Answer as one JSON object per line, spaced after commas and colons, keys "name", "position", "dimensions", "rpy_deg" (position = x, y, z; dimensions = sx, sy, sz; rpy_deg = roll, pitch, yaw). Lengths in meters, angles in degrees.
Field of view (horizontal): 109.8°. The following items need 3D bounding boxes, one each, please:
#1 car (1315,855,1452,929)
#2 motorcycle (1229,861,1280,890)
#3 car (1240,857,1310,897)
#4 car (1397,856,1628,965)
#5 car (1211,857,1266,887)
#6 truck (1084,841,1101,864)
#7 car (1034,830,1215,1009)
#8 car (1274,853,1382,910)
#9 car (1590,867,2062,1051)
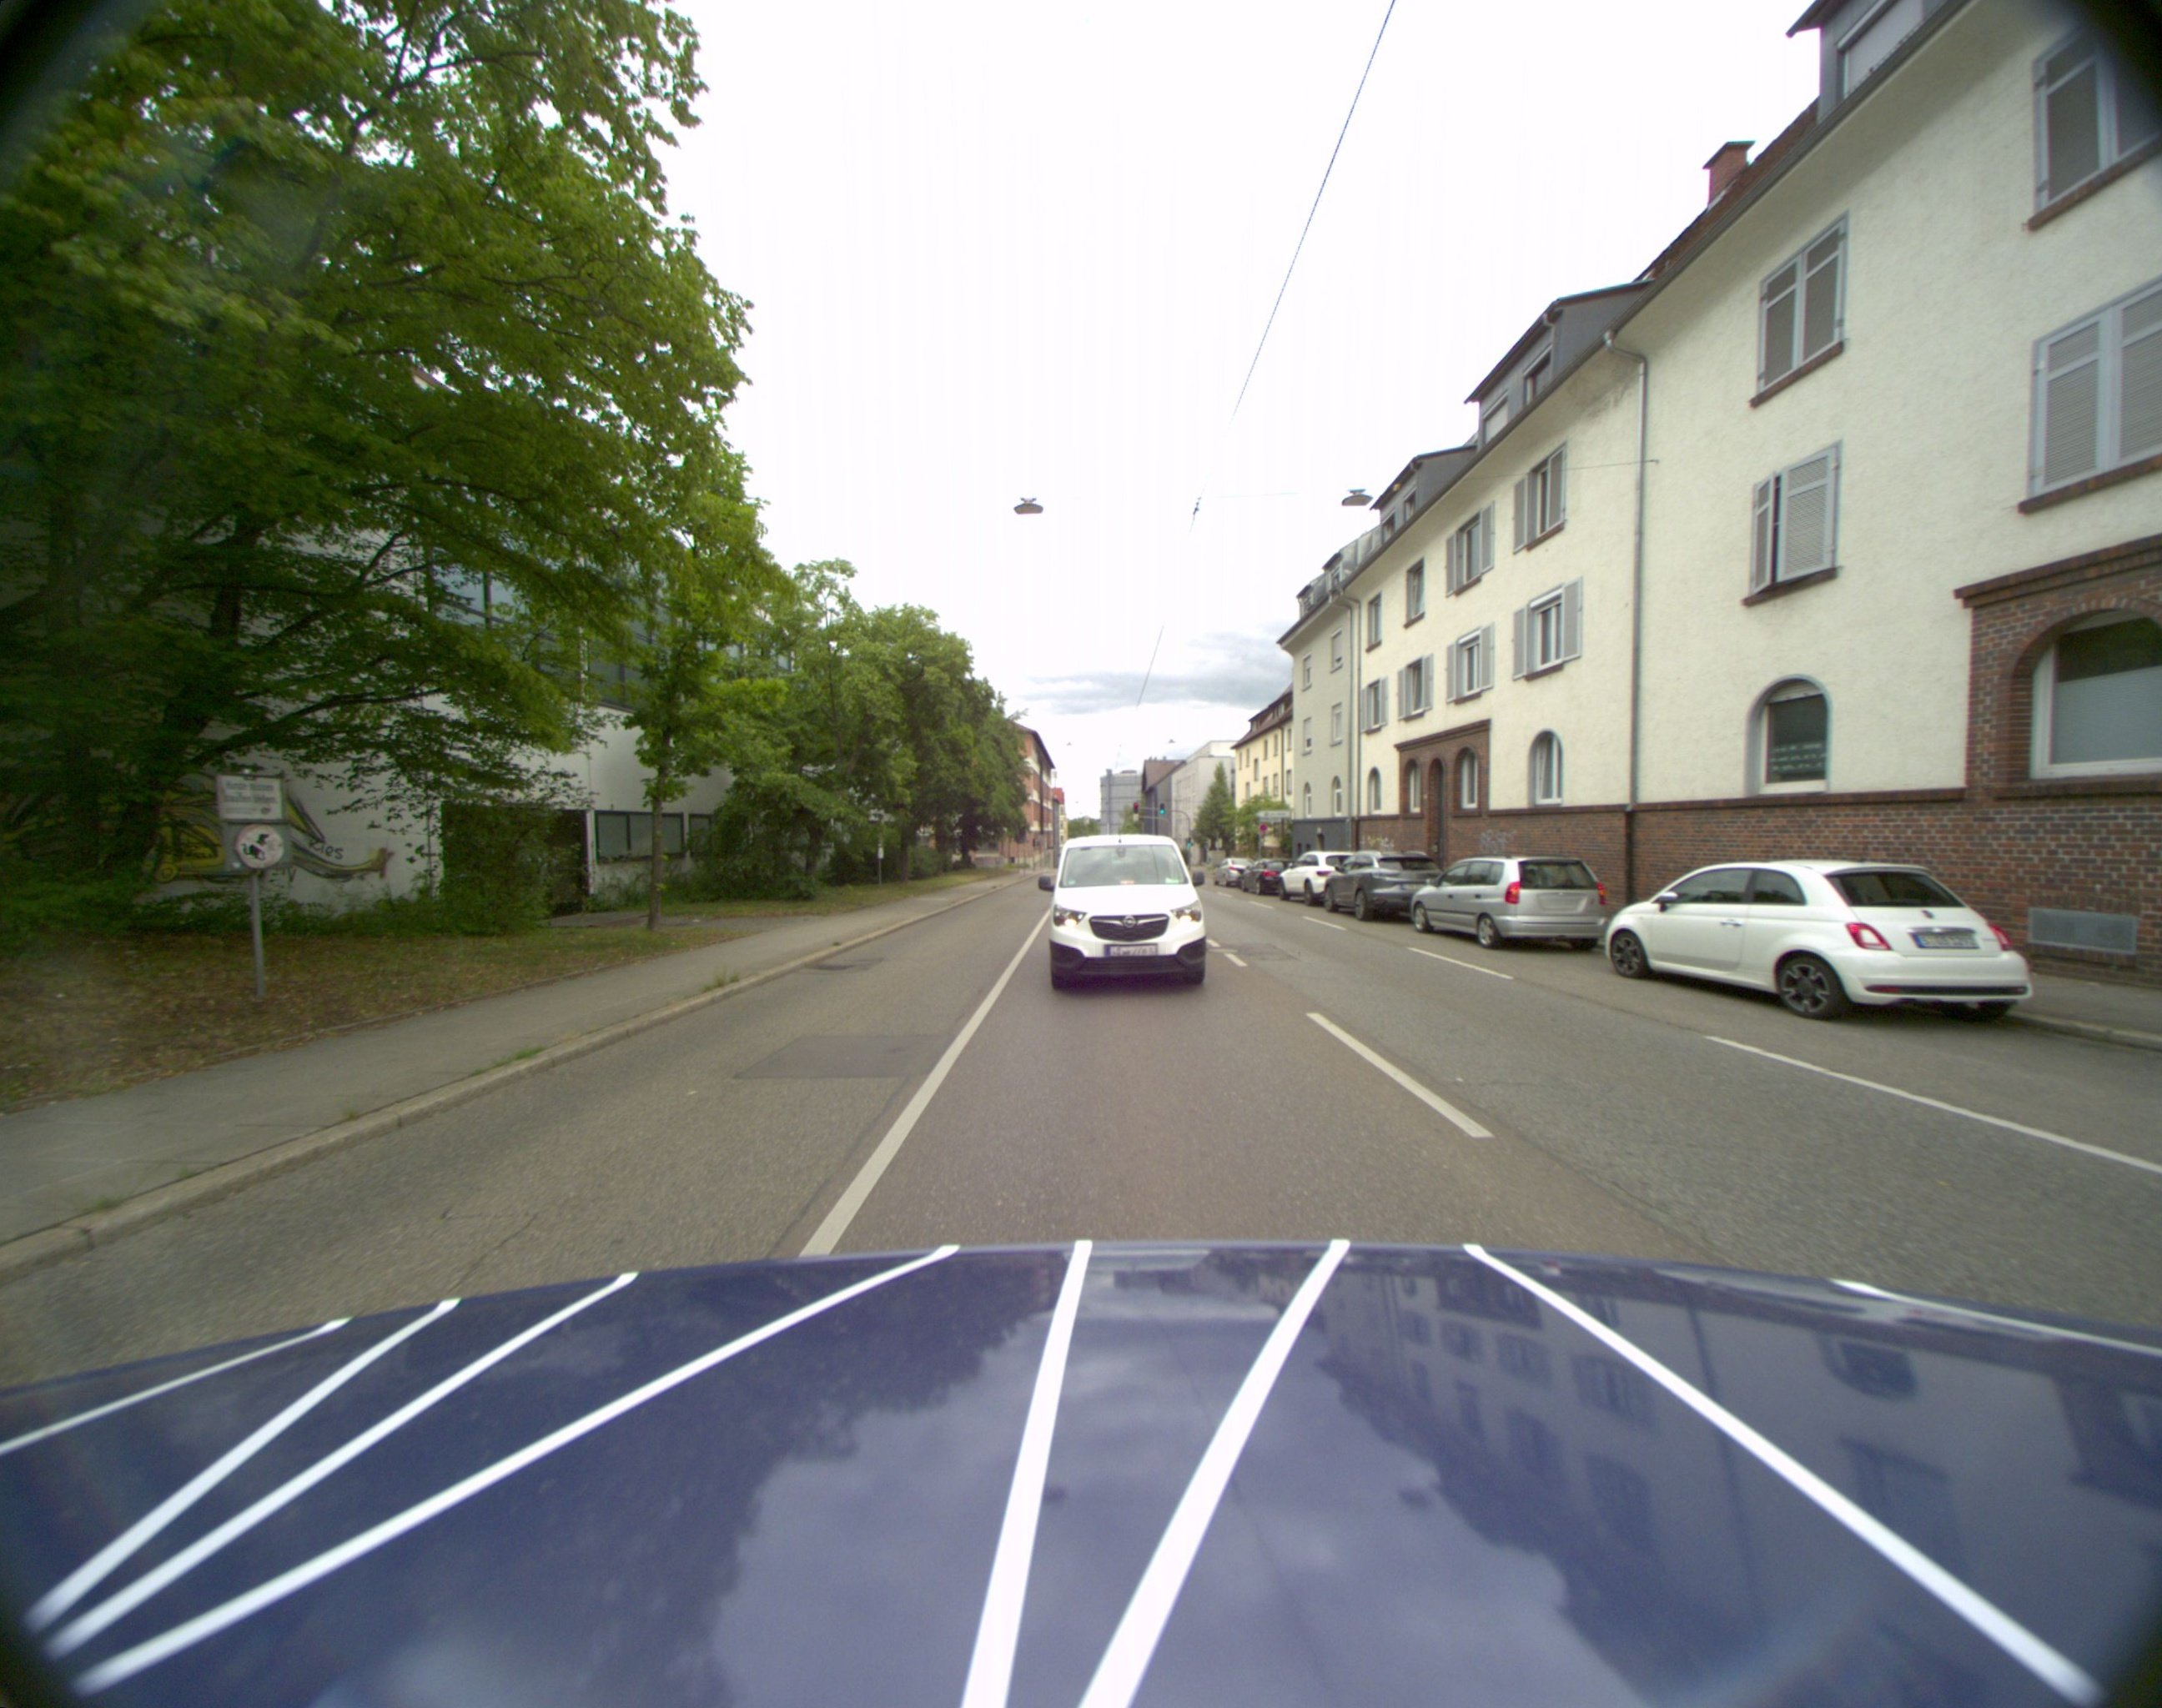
{"name": "car", "position": [7.160, 0.812, 18.489], "dimensions": [1.731, 1.590, 4.502], "rpy_deg": [0, 0, 3]}
{"name": "motorcycle", "position": [7.716, 0.943, 33.853], "dimensions": [2.048, 1.228, 0.806], "rpy_deg": [2, 0, -17]}
{"name": "car", "position": [7.508, 0.838, 29.783], "dimensions": [1.731, 1.421, 4.191], "rpy_deg": [0, 0, 0]}
{"name": "car", "position": [7.321, 0.848, 13.449], "dimensions": [1.731, 1.549, 4.081], "rpy_deg": [2, 1, 0]}
{"name": "car", "position": [7.596, 0.826, 37.081], "dimensions": [1.731, 1.366, 4.337], "rpy_deg": [0, 0, -1]}
{"name": "truck", "position": [1.759, -0.214, 117.277], "dimensions": [2.545, 3.478, 8.521], "rpy_deg": [0, 0, 1]}
{"name": "car", "position": [0.496, 0.730, 10.078], "dimensions": [1.850, 1.831, 4.284], "rpy_deg": [-1, -1, 1]}
{"name": "car", "position": [7.551, 0.776, 23.746], "dimensions": [1.850, 1.612, 4.643], "rpy_deg": [0, 0, 0]}
{"name": "car", "position": [7.454, 0.917, 8.179], "dimensions": [1.551, 1.466, 3.603], "rpy_deg": [0, 0, 0]}
